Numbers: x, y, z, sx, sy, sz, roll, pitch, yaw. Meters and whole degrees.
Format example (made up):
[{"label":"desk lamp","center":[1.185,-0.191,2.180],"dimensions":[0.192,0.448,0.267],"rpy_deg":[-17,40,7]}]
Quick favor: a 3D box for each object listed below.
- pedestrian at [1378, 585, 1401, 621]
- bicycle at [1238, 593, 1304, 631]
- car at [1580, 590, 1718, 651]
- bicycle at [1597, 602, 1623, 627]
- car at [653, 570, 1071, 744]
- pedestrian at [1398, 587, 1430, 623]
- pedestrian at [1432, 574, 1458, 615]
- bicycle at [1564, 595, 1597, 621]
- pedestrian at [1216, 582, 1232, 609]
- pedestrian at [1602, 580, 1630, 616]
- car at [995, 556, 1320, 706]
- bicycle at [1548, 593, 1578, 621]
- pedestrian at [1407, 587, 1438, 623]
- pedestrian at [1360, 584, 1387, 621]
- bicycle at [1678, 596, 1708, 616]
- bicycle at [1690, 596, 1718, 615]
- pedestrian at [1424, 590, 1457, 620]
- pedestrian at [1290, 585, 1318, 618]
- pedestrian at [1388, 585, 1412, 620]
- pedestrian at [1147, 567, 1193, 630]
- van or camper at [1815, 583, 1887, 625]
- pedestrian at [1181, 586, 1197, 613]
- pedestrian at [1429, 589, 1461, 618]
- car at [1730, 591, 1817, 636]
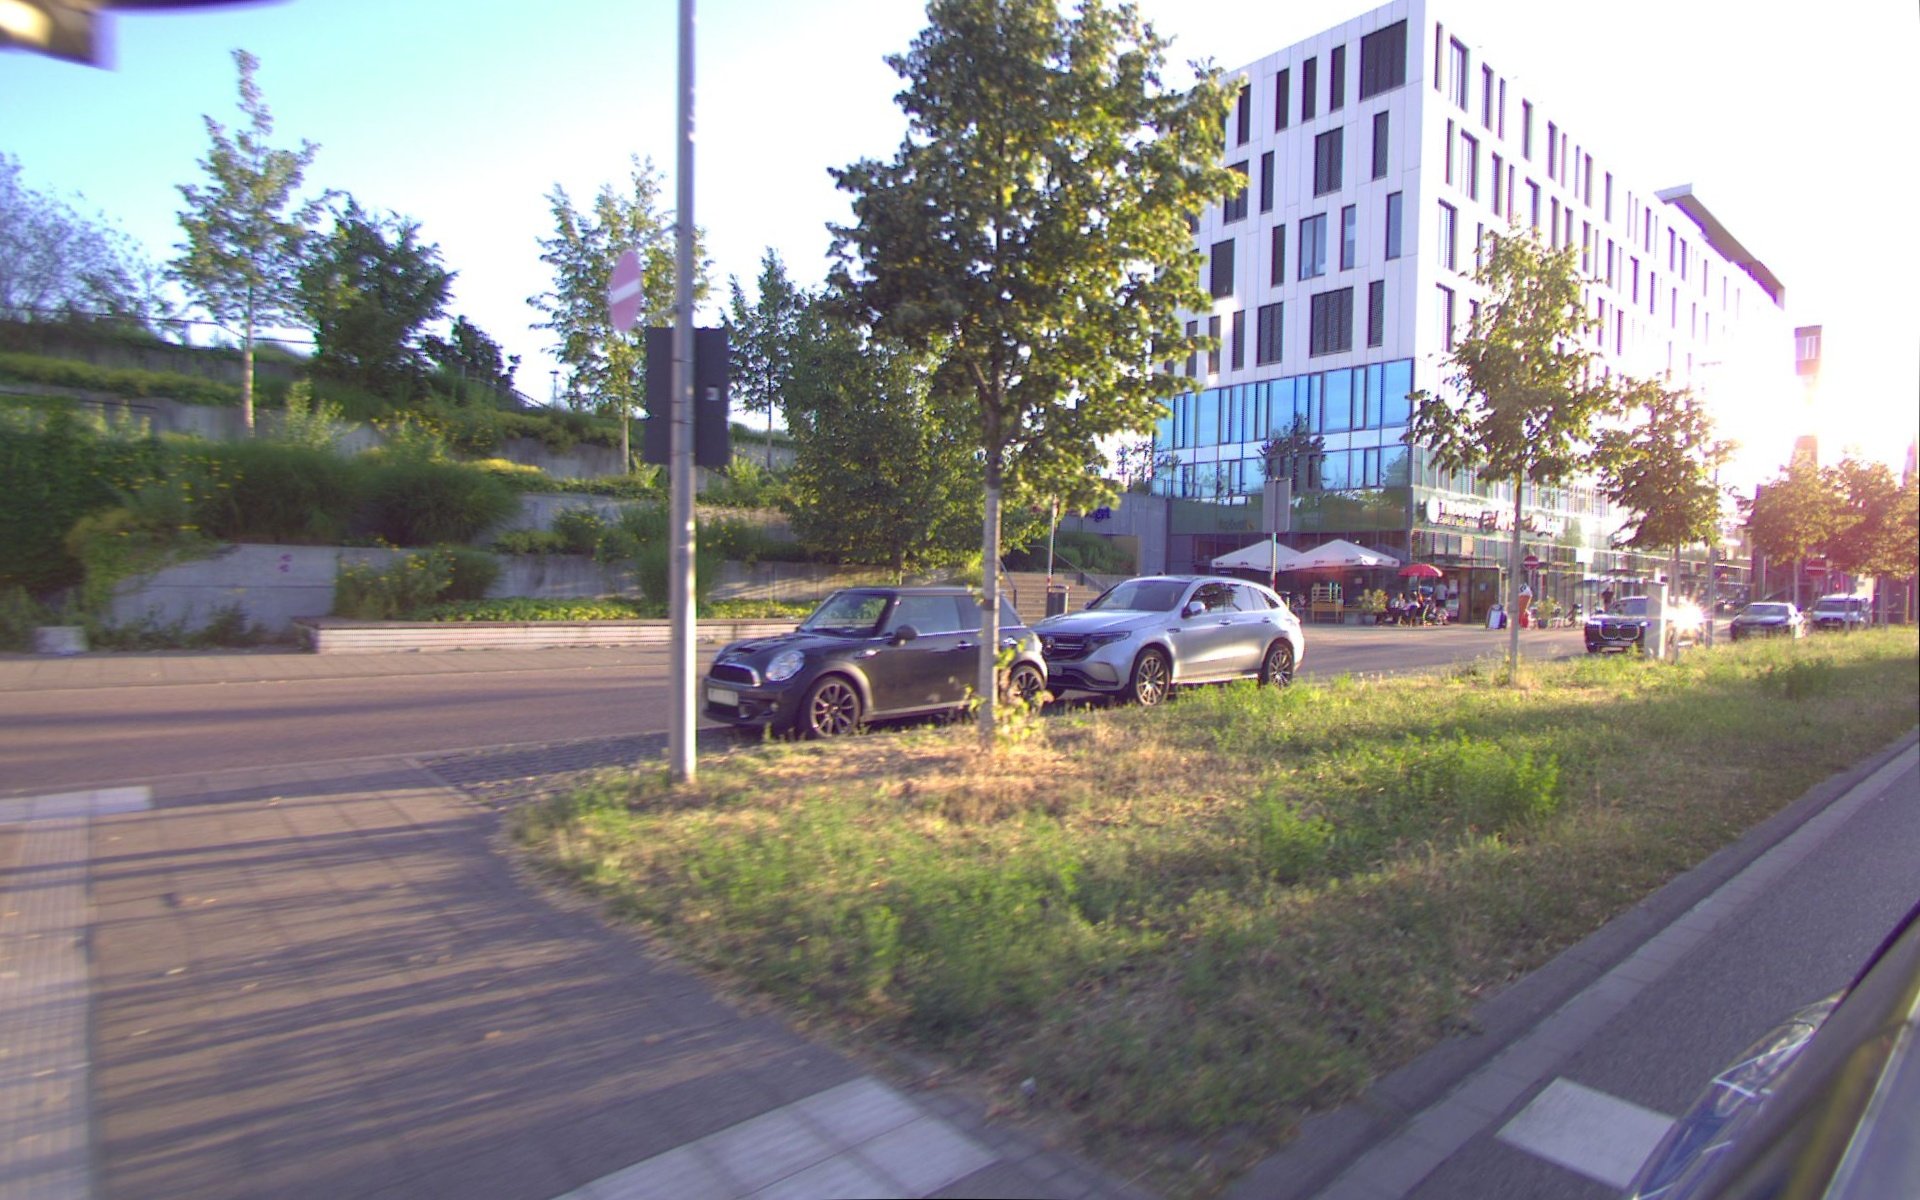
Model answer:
[{"label":"pedestrian","center":[16.417,0.114,38.686],"dimensions":[0.654,1.306,0.681],"rpy_deg":[3,2,17]},{"label":"bicycle","center":[9.017,0.342,29.352],"dimensions":[1.872,1.056,0.546],"rpy_deg":[0,1,-22]},{"label":"car","center":[19.237,0.516,28.149],"dimensions":[5.317,1.519,1.923],"rpy_deg":[0,1,-42]},{"label":"bicycle","center":[29.453,0.636,45.837],"dimensions":[0.596,1.053,2.041],"rpy_deg":[4,3,42]},{"label":"car","center":[-0.854,0.450,10.193],"dimensions":[3.931,1.416,1.752],"rpy_deg":[0,0,-42]},{"label":"pedestrian","center":[16.989,0.175,37.897],"dimensions":[0.671,1.306,0.783],"rpy_deg":[1,3,-34]},{"label":"pedestrian","center":[21.246,-0.246,44.314],"dimensions":[0.670,1.781,0.664],"rpy_deg":[1,2,-23]},{"label":"bicycle","center":[27.446,0.362,44.752],"dimensions":[2.039,1.076,0.684],"rpy_deg":[0,3,-44]},{"label":"pedestrian","center":[11.896,-0.201,45.582],"dimensions":[0.525,1.230,0.476],"rpy_deg":[0,1,-35]},{"label":"pedestrian","center":[35.339,-0.113,54.484],"dimensions":[0.931,1.906,1.028],"rpy_deg":[0,1,-42]},{"label":"car","center":[2.740,0.361,13.386],"dimensions":[4.595,1.653,1.811],"rpy_deg":[0,-1,-42]},{"label":"bicycle","center":[25.725,0.280,43.169],"dimensions":[0.640,1.147,1.843],"rpy_deg":[5,3,45]},{"label":"pedestrian","center":[17.578,0.171,38.445],"dimensions":[0.671,1.306,0.778],"rpy_deg":[1,3,-34]},{"label":"pedestrian","center":[15.488,0.085,37.885],"dimensions":[0.741,1.385,0.760],"rpy_deg":[1,1,38]},{"label":"bicycle","center":[40.335,0.331,55.683],"dimensions":[1.879,1.053,0.532],"rpy_deg":[1,2,-30]},{"label":"bicycle","center":[42.367,0.321,57.651],"dimensions":[1.838,1.053,0.532],"rpy_deg":[1,2,-30]},{"label":"pedestrian","center":[19.284,0.199,40.631],"dimensions":[0.673,1.139,0.975],"rpy_deg":[0,3,-40]},{"label":"pedestrian","center":[13.567,0.040,39.860],"dimensions":[0.757,1.281,0.744],"rpy_deg":[0,1,-40]},{"label":"pedestrian","center":[17.046,0.088,39.196],"dimensions":[0.681,1.306,0.621],"rpy_deg":[4,3,36]},{"label":"pedestrian","center":[5.668,-0.050,27.313],"dimensions":[1.060,1.675,0.696],"rpy_deg":[0,1,-42]},{"label":"van or camper","center":[43.087,0.178,48.901],"dimensions":[4.745,1.944,1.962],"rpy_deg":[0,0,-41]},{"label":"pedestrian","center":[10.384,-0.028,45.935],"dimensions":[0.525,1.230,0.476],"rpy_deg":[0,1,-35]},{"label":"pedestrian","center":[19.852,0.136,41.432],"dimensions":[0.673,1.139,0.975],"rpy_deg":[0,3,-40]},{"label":"car","center":[30.190,0.462,37.530],"dimensions":[4.402,1.519,1.811],"rpy_deg":[0,1,-42]}]
